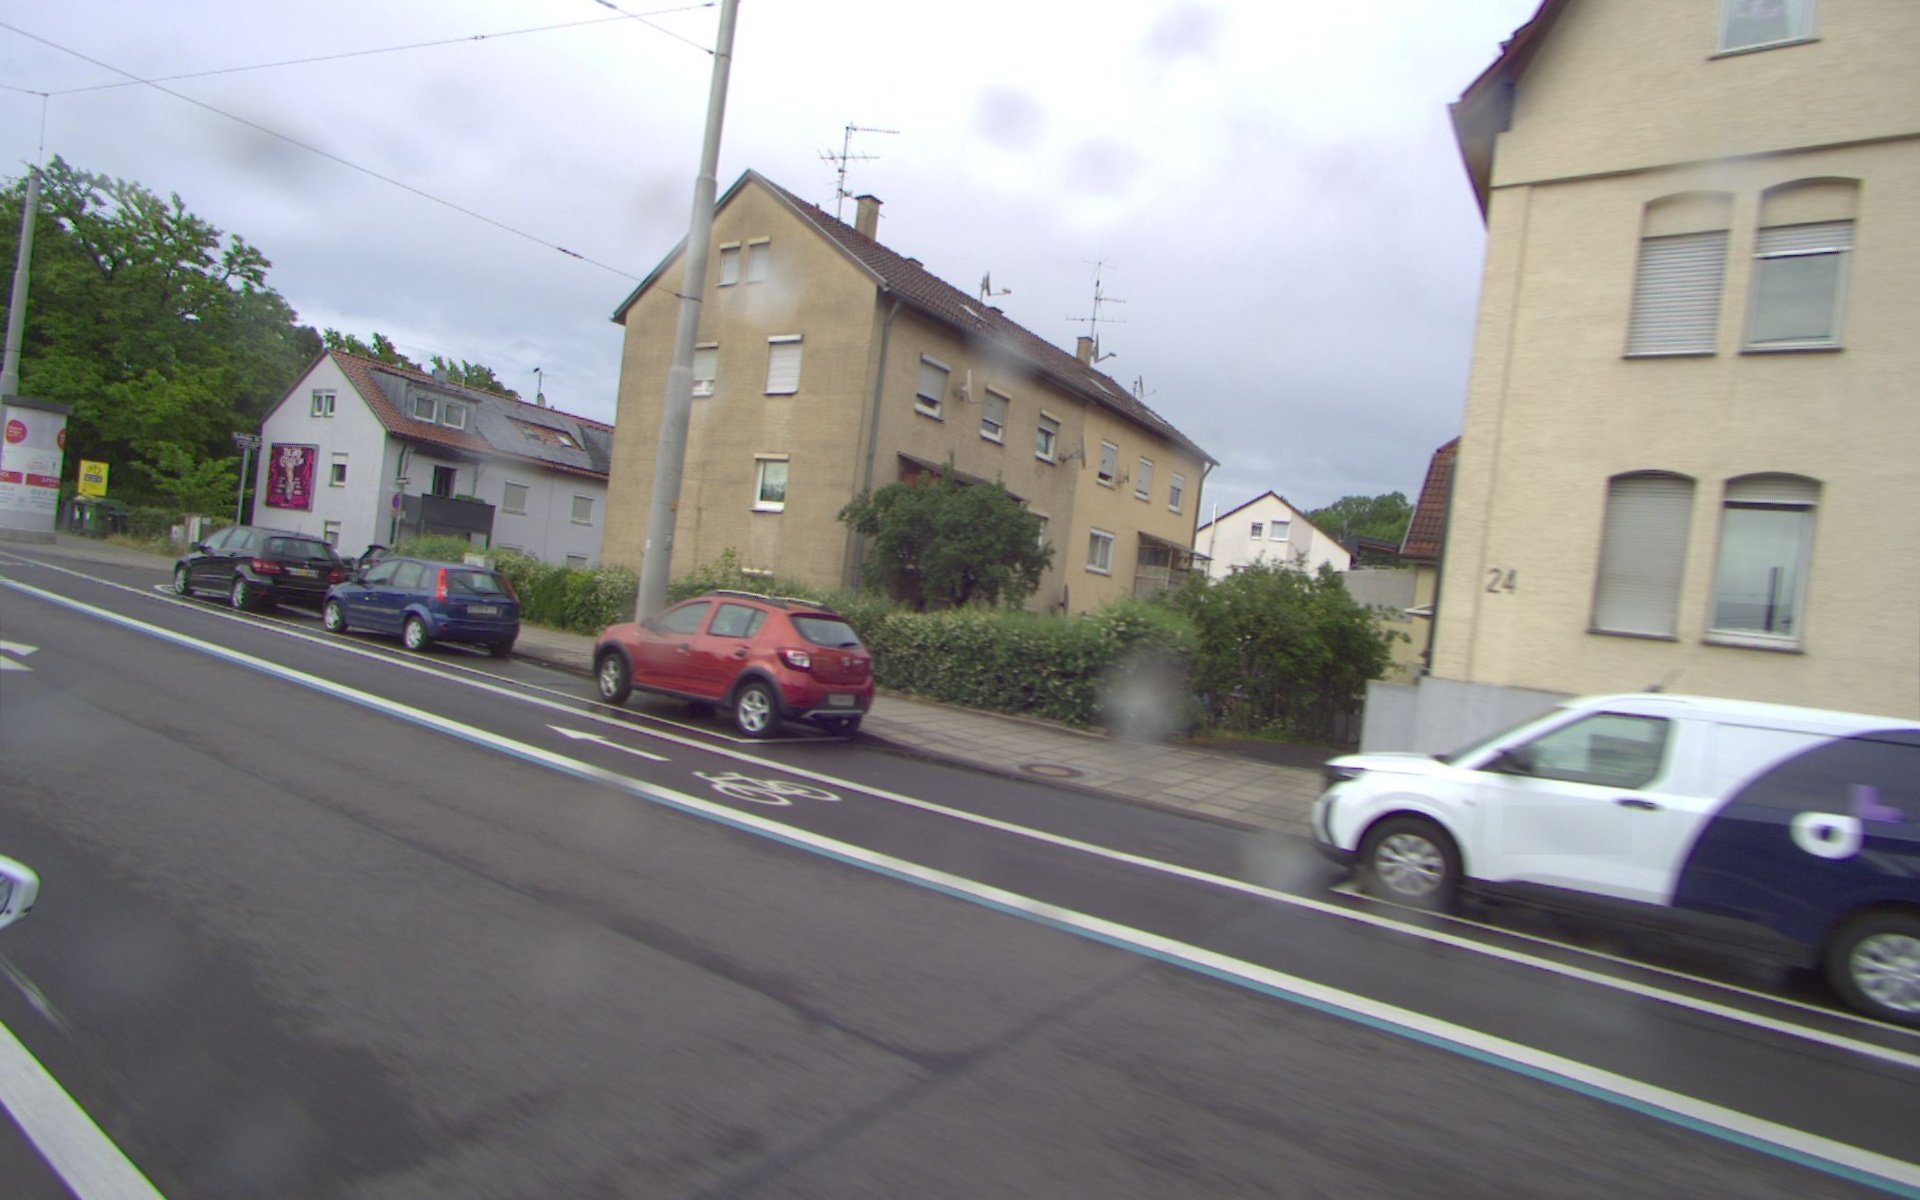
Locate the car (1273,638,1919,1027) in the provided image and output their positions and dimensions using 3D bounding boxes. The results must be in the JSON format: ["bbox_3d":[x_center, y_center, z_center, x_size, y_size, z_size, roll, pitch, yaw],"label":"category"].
[{"bbox_3d":[4.812,1.479,7.195,4.447,1.777,1.851,7,-2,32],"label":"car"}]

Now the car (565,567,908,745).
[{"bbox_3d":[-2.906,0.666,12.847,4.033,1.647,1.840,6,-2,33],"label":"car"}]

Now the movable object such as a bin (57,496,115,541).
[{"bbox_3d":[-32.096,-2.996,36.951,1.116,1.434,1.187,6,-2,31],"label":"movable object such as a bin"}]

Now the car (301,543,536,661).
[{"bbox_3d":[-9.169,0.013,16.963,3.864,1.460,1.670,7,-2,32],"label":"car"}]

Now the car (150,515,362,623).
[{"bbox_3d":[-14.147,-0.647,20.155,4.366,1.551,1.840,7,-1,33],"label":"car"}]

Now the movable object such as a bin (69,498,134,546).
[{"bbox_3d":[-30.854,-2.797,36.176,1.278,1.434,1.314,6,-2,31],"label":"movable object such as a bin"}]

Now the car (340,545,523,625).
[{"bbox_3d":[-15.559,-0.397,29.818,1.851,1.673,4.280,5,-4,36],"label":"car"}]
